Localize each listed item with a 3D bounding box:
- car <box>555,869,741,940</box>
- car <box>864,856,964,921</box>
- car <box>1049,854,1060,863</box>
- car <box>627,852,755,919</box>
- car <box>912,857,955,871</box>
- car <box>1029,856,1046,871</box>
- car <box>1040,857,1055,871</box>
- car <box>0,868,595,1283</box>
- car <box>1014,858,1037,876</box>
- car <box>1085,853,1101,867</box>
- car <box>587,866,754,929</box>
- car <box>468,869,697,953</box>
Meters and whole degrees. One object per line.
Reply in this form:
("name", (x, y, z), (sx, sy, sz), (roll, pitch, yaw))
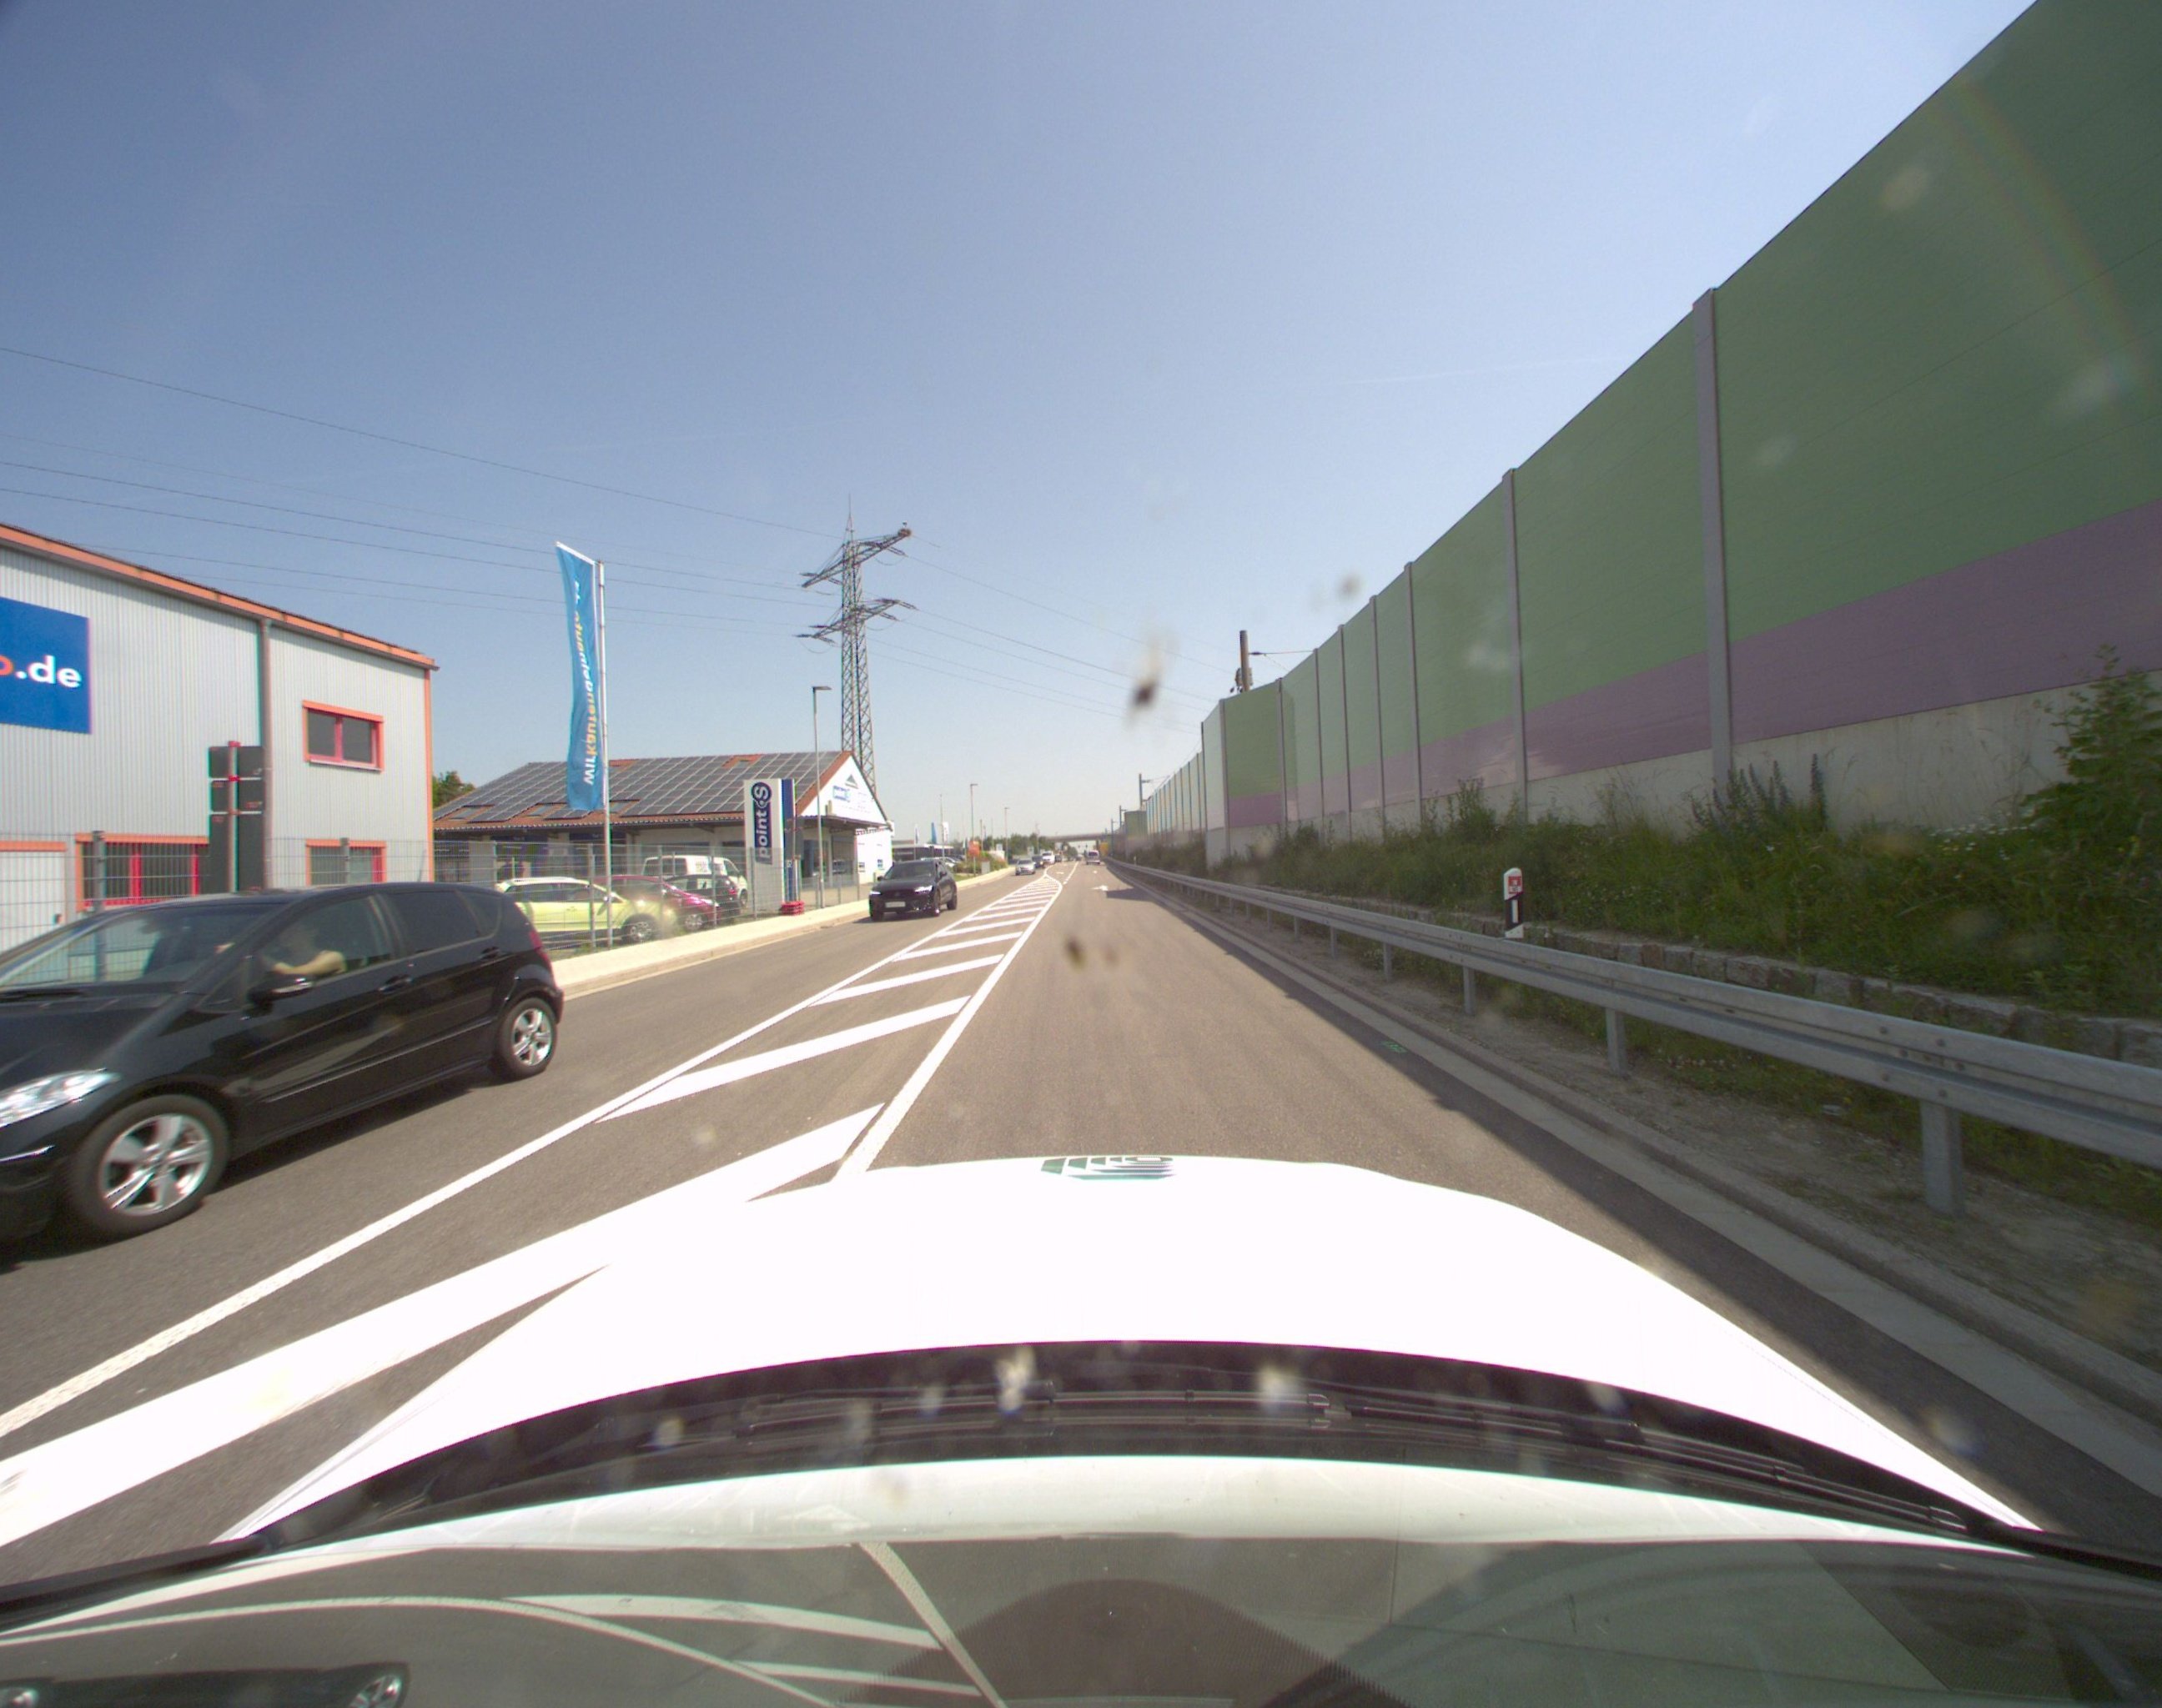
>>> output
("car", (-10.973, 1.204, 20.731), (4.015, 1.493, 1.726), (-2, 0, -33))
("car", (-4.860, 0.946, 24.422), (1.875, 1.616, 4.523), (-4, 0, 1))
("car", (-4.624, 0.810, 140.188), (1.665, 1.423, 3.999), (-4, 0, 0))
("car", (-13.309, 1.035, 28.158), (1.986, 2.014, 4.681), (-3, -1, 1))
("car", (-15.439, 1.058, 85.504), (4.212, 1.456, 1.763), (0, 0, -2))
("car", (-5.050, 1.042, 95.446), (1.663, 1.600, 3.972), (-4, 0, 0))
("car", (-4.867, 1.458, 117.463), (1.989, 1.874, 5.164), (-3, 0, -3))
("car", (-5.128, 0.970, 5.144), (1.736, 1.594, 3.796), (-3, 0, 0))
("car", (-5.108, 1.151, 75.492), (1.759, 1.466, 4.257), (-4, 0, -1))
("car", (1.568, 0.798, 106.295), (1.986, 1.757, 4.002), (-2, 0, 2))
("car", (-11.437, 1.162, 22.931), (4.007, 1.493, 1.729), (-2, 0, -26))
("car", (-10.904, 1.169, 17.979), (4.111, 1.493, 1.725), (-2, 0, -36))
